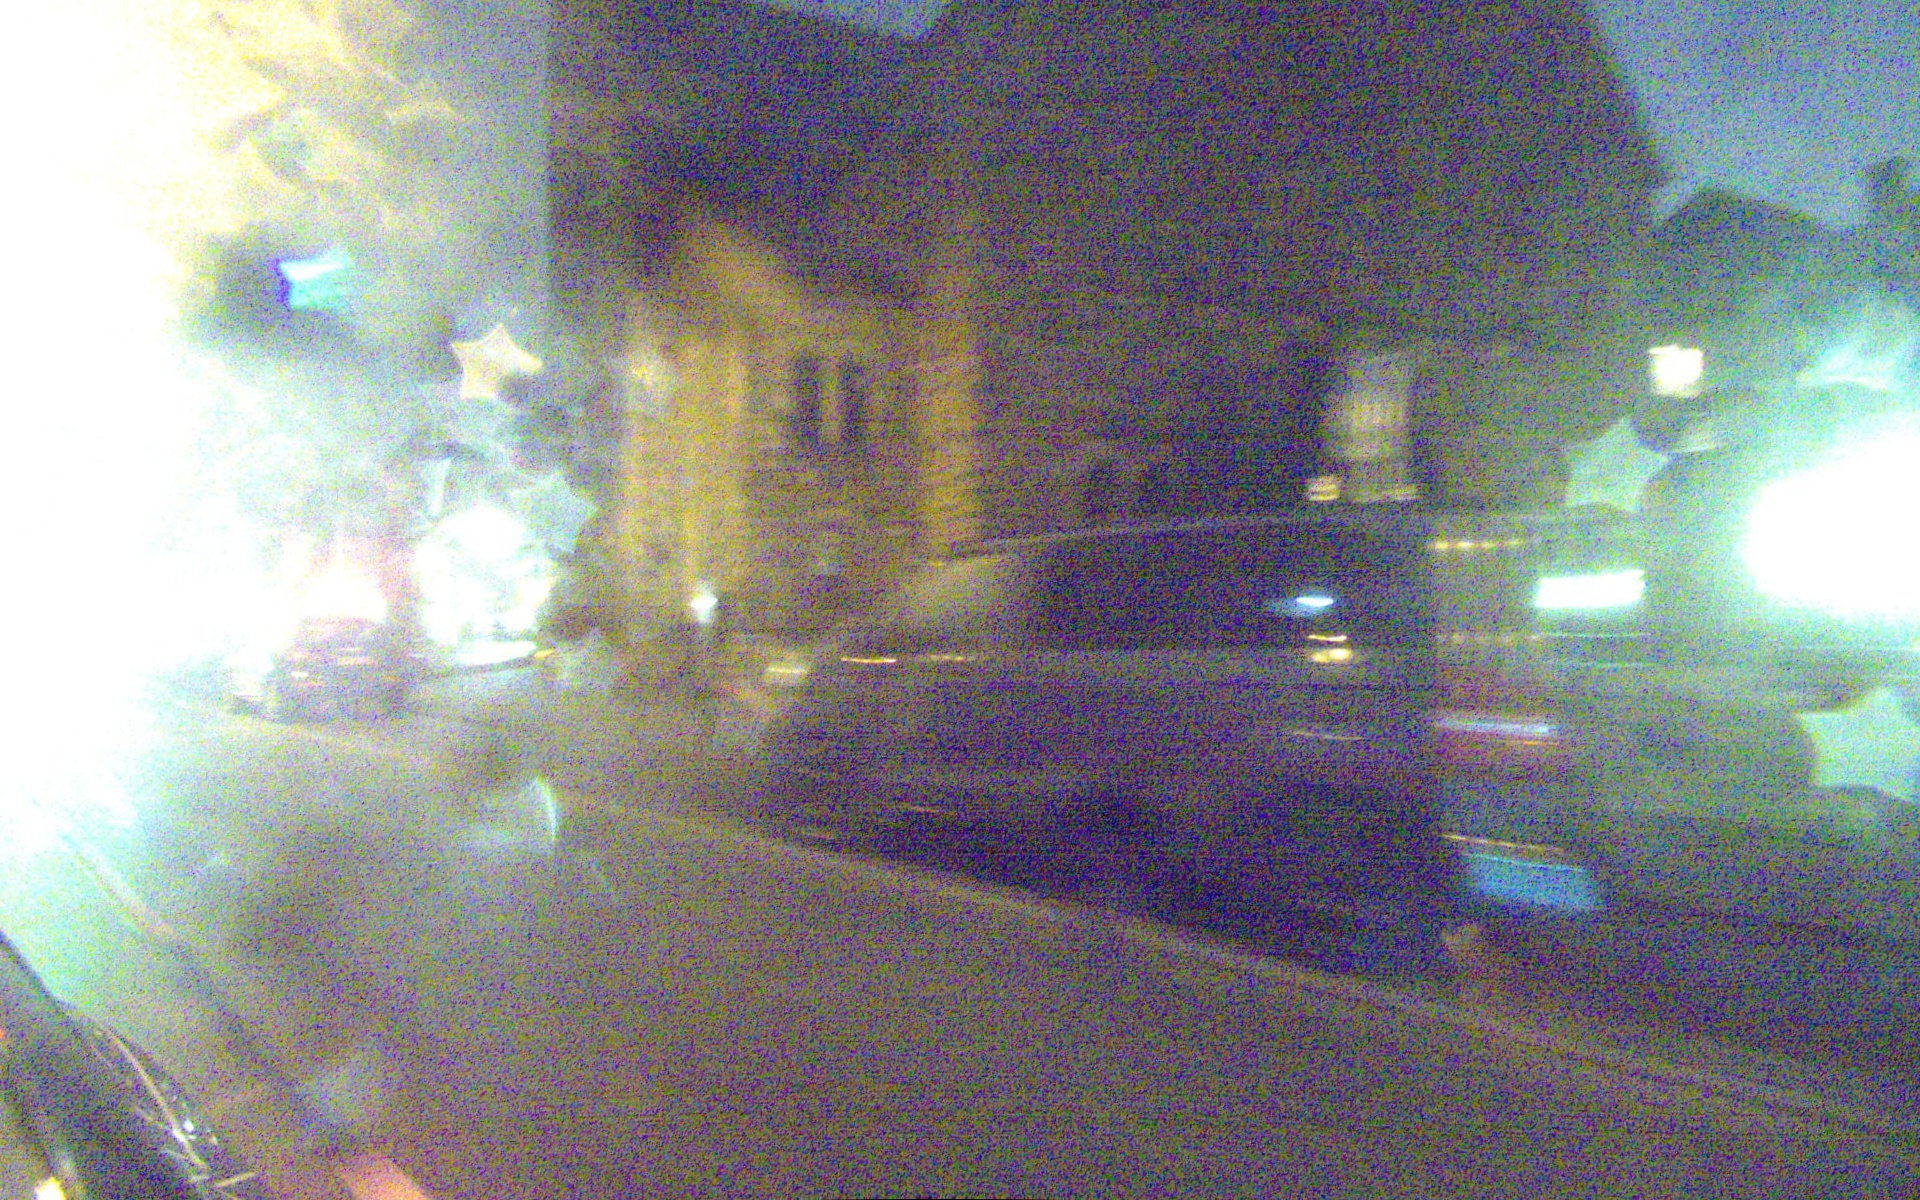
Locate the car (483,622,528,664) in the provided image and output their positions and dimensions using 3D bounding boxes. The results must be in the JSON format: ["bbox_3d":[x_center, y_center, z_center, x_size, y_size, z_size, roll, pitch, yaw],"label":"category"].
[{"bbox_3d":[-19.917,1.920,44.450,1.671,1.741,4.013,2,-3,-23],"label":"car"}]

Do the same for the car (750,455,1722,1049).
[{"bbox_3d":[1.019,0.537,5.530,4.828,1.860,1.846,-2,-2,44],"label":"car"}]

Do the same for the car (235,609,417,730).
[{"bbox_3d":[-10.346,1.032,16.377,1.790,1.683,4.417,0,-2,-42],"label":"car"}]

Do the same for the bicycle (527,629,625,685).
[{"bbox_3d":[-8.362,1.218,22.070,1.937,1.189,0.543,1,-2,-30],"label":"bicycle"}]
